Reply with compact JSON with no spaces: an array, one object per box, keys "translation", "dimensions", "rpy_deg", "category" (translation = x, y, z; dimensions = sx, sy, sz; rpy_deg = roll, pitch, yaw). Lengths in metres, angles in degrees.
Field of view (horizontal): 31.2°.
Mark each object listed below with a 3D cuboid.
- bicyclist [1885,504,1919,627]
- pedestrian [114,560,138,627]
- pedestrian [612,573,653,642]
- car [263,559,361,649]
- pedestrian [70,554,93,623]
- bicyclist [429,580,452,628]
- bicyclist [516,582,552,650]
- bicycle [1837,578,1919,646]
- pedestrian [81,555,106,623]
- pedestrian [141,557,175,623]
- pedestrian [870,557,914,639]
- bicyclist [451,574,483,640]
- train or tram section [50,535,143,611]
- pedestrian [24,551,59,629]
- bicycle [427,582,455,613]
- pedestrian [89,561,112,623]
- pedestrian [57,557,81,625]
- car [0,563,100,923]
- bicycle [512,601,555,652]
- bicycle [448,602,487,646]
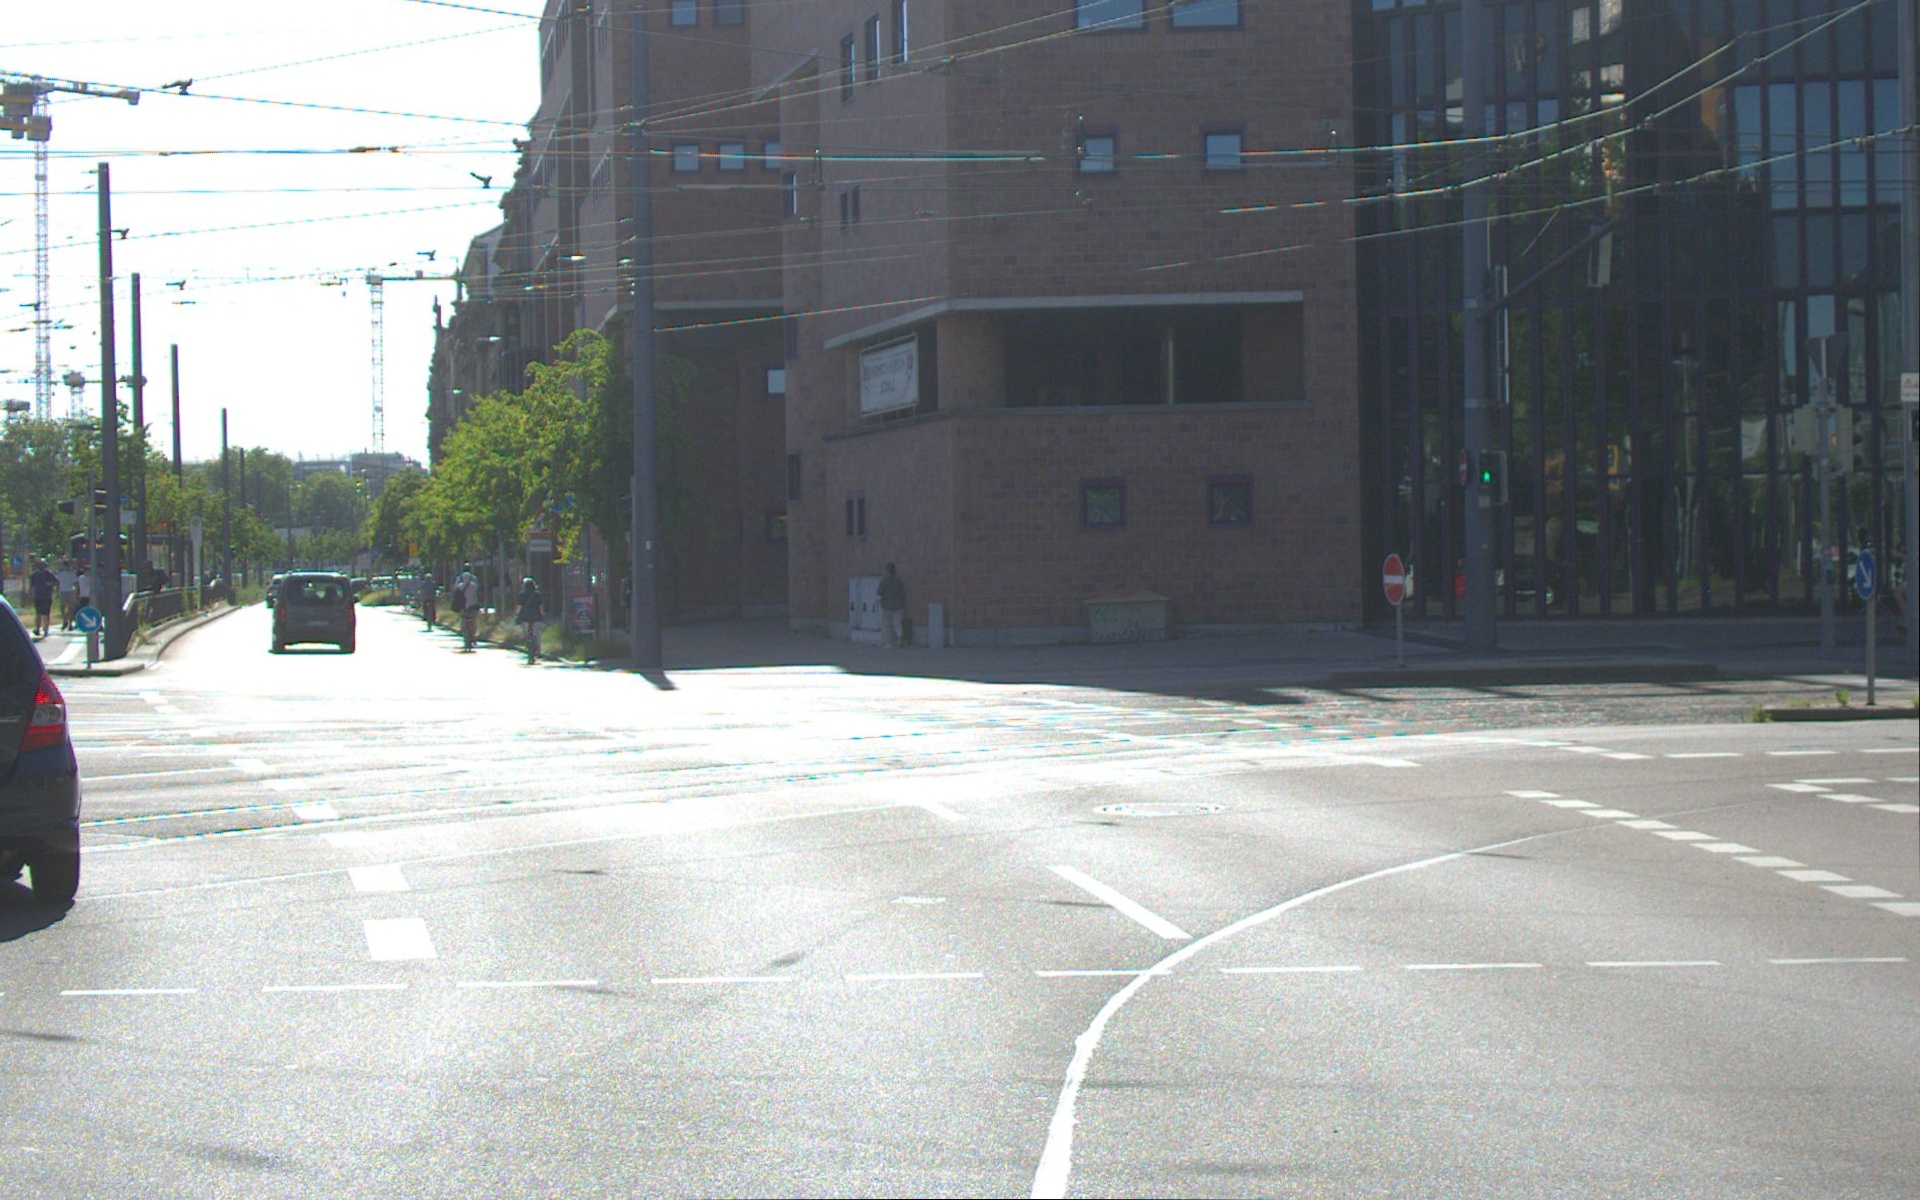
[{"translation":[14.688,-0.536,52.839],"dimensions":[0.605,1.877,0.651],"rpy_deg":[-1,0,-20],"category":"bicyclist"},{"translation":[-20.623,-0.158,85.056],"dimensions":[0.538,1.649,0.707],"rpy_deg":[-1,0,-13],"category":"pedestrian"},{"translation":[-8.287,0.179,86.955],"dimensions":[0.879,1.711,0.931],"rpy_deg":[-1,0,-13],"category":"pedestrian"},{"translation":[-14.784,0.079,78.311],"dimensions":[1.993,1.941,4.001],"rpy_deg":[-1,0,-13],"category":"car"},{"translation":[-22.661,-0.296,88.671],"dimensions":[0.538,1.767,0.633],"rpy_deg":[-1,0,-13],"category":"pedestrian"},{"translation":[-16.552,0.129,109.571],"dimensions":[0.667,1.521,0.707],"rpy_deg":[-1,0,-13],"category":"bicyclist"},{"translation":[-8.411,0.312,67.875],"dimensions":[0.592,1.331,0.933],"rpy_deg":[-1,0,-13],"category":"bicyclist"},{"translation":[14.382,0.175,52.751],"dimensions":[1.668,0.991,0.673],"rpy_deg":[-1,0,-19],"category":"bicycle"},{"translation":[-21.300,-0.270,84.543],"dimensions":[0.538,1.649,0.896],"rpy_deg":[-1,0,-13],"category":"pedestrian"},{"translation":[-21.410,-0.269,91.809],"dimensions":[0.716,1.729,0.602],"rpy_deg":[-1,0,-30],"category":"pedestrian"},{"translation":[-1.318,-0.035,66.183],"dimensions":[0.617,1.558,0.987],"rpy_deg":[-1,0,-13],"category":"pedestrian"},{"translation":[-11.428,0.153,79.733],"dimensions":[0.667,1.521,0.707],"rpy_deg":[-1,0,-13],"category":"bicyclist"},{"translation":[-35.523,-1.144,141.846],"dimensions":[2.326,2.993,13.163],"rpy_deg":[-1,1,-8],"category":"train or tram section"},{"translation":[-20.205,-0.226,75.649],"dimensions":[0.614,1.663,0.864],"rpy_deg":[-4,2,-13],"category":"pedestrian"},{"translation":[-16.517,-0.090,109.452],"dimensions":[0.667,0.982,2.586],"rpy_deg":[-1,0,-13],"category":"bicycle"},{"translation":[-21.673,-0.197,86.675],"dimensions":[0.518,1.546,0.601],"rpy_deg":[-1,0,-17],"category":"pedestrian"},{"translation":[-21.913,-0.219,84.578],"dimensions":[0.510,1.649,0.762],"rpy_deg":[-1,0,-13],"category":"pedestrian"},{"translation":[-5.234,0.626,16.536],"dimensions":[1.726,1.558,3.678],"rpy_deg":[-1,1,-20],"category":"car"},{"translation":[-8.467,0.519,68.169],"dimensions":[0.603,0.982,2.315],"rpy_deg":[-1,0,-13],"category":"bicycle"},{"translation":[-11.440,0.554,79.776],"dimensions":[0.667,0.982,2.586],"rpy_deg":[-1,0,-13],"category":"bicycle"}]
